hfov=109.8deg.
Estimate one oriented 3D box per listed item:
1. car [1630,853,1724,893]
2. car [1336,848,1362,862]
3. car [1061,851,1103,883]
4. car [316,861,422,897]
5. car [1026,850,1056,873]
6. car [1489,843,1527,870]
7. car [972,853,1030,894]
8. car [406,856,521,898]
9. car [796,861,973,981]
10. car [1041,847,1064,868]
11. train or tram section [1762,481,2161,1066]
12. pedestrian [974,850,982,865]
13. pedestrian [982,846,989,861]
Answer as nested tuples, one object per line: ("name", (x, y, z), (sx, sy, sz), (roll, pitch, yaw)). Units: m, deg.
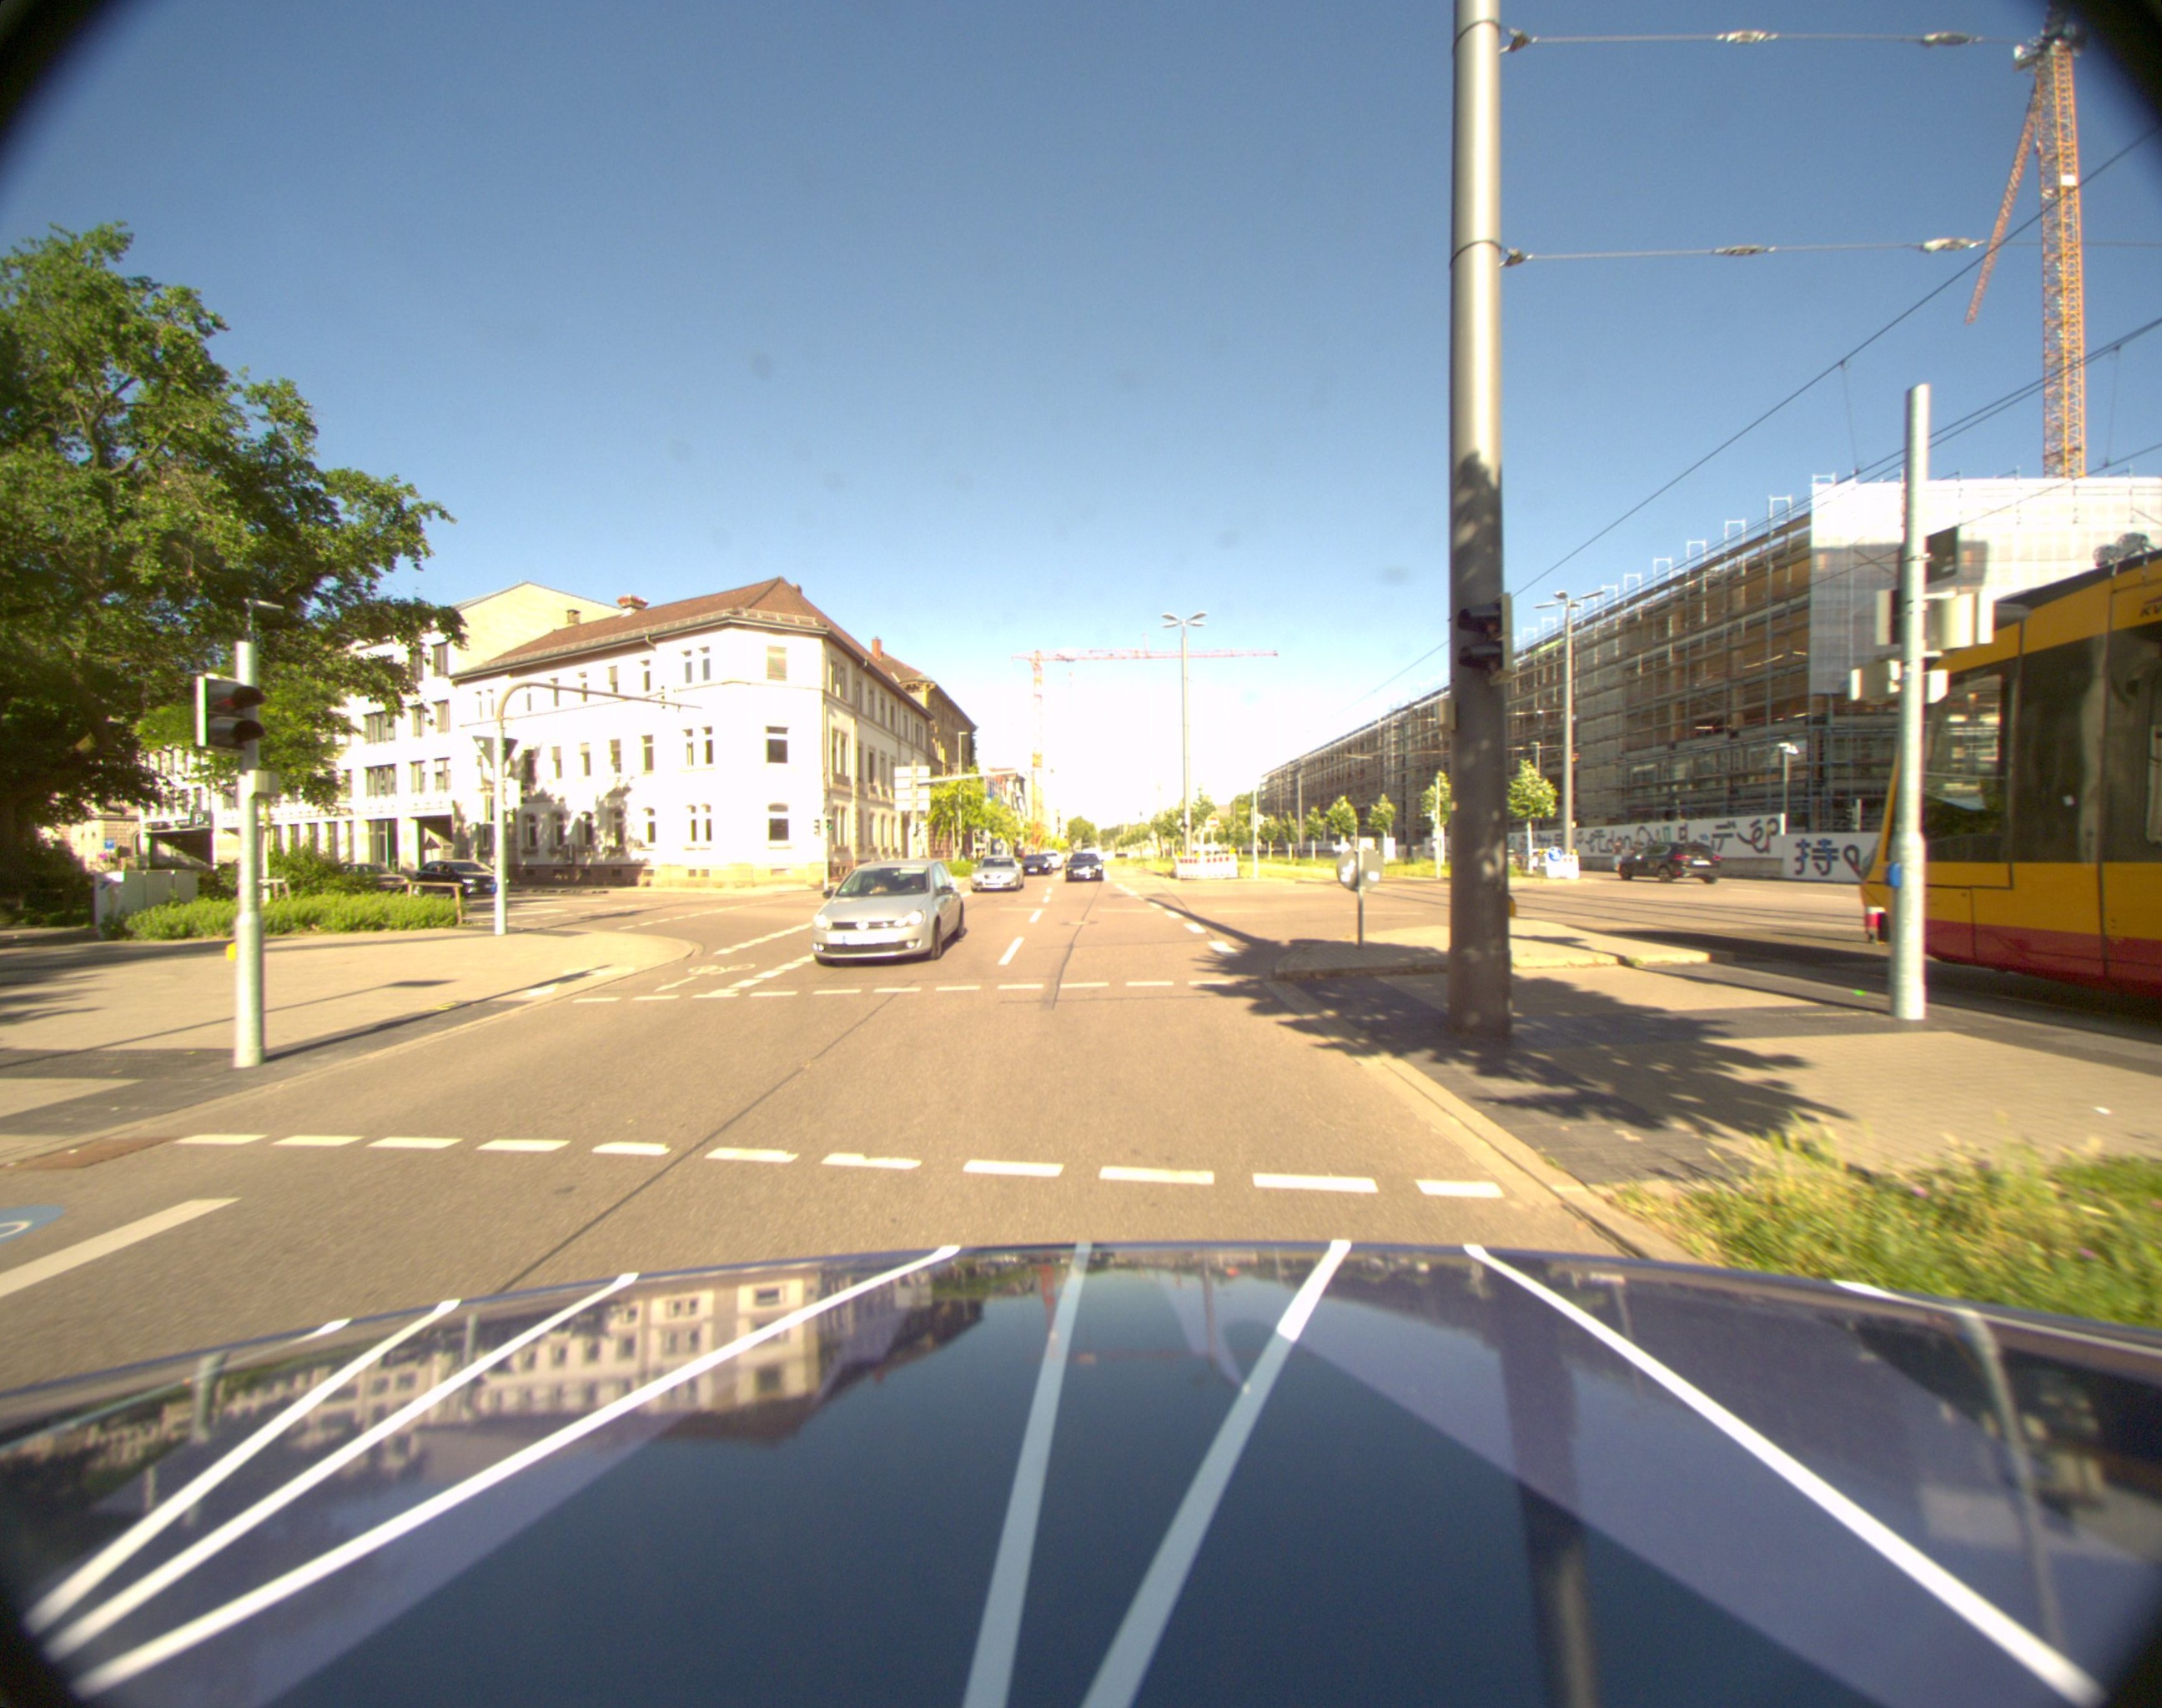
("car", (24.517, 0.746, 31.404), (1.725, 1.488, 3.578), (-2, 1, 14))
("car", (29.518, 0.113, 83.820), (1.598, 1.458, 3.480), (-2, 1, 0))
("car", (-0.008, 0.600, 38.589), (1.999, 1.493, 3.999), (0, 1, -1))
("car", (-29.721, 1.024, 31.719), (3.990, 1.430, 1.864), (-1, -1, 25))
("car", (-2.616, 0.477, 50.512), (1.703, 1.415, 3.999), (-2, 1, 1))
("car", (26.942, 0.162, 48.076), (1.886, 1.565, 4.006), (-1, 1, 27))
("car", (-3.135, 0.733, 30.465), (1.839, 1.415, 3.999), (-2, 1, 1))
("car", (-23.311, 0.892, 28.689), (3.990, 1.473, 1.736), (-1, -2, 24))
("car", (-2.915, 0.917, 12.177), (1.703, 1.466, 3.999), (-2, 1, 1))
("car", (-2.372, 0.290, 64.206), (1.703, 1.622, 3.999), (-2, 1, 1))
("train or tram section", (7.564, -0.462, 0.548), (1.998, 3.648, 14.152), (-2, 1, 3))
("pedestrian", (-10.693, 0.352, 78.902), (0.669, 1.552, 0.906), (-2, 1, -1))
("pedestrian", (-9.917, -0.073, 78.925), (0.669, 1.552, 0.906), (-2, 1, -1))
